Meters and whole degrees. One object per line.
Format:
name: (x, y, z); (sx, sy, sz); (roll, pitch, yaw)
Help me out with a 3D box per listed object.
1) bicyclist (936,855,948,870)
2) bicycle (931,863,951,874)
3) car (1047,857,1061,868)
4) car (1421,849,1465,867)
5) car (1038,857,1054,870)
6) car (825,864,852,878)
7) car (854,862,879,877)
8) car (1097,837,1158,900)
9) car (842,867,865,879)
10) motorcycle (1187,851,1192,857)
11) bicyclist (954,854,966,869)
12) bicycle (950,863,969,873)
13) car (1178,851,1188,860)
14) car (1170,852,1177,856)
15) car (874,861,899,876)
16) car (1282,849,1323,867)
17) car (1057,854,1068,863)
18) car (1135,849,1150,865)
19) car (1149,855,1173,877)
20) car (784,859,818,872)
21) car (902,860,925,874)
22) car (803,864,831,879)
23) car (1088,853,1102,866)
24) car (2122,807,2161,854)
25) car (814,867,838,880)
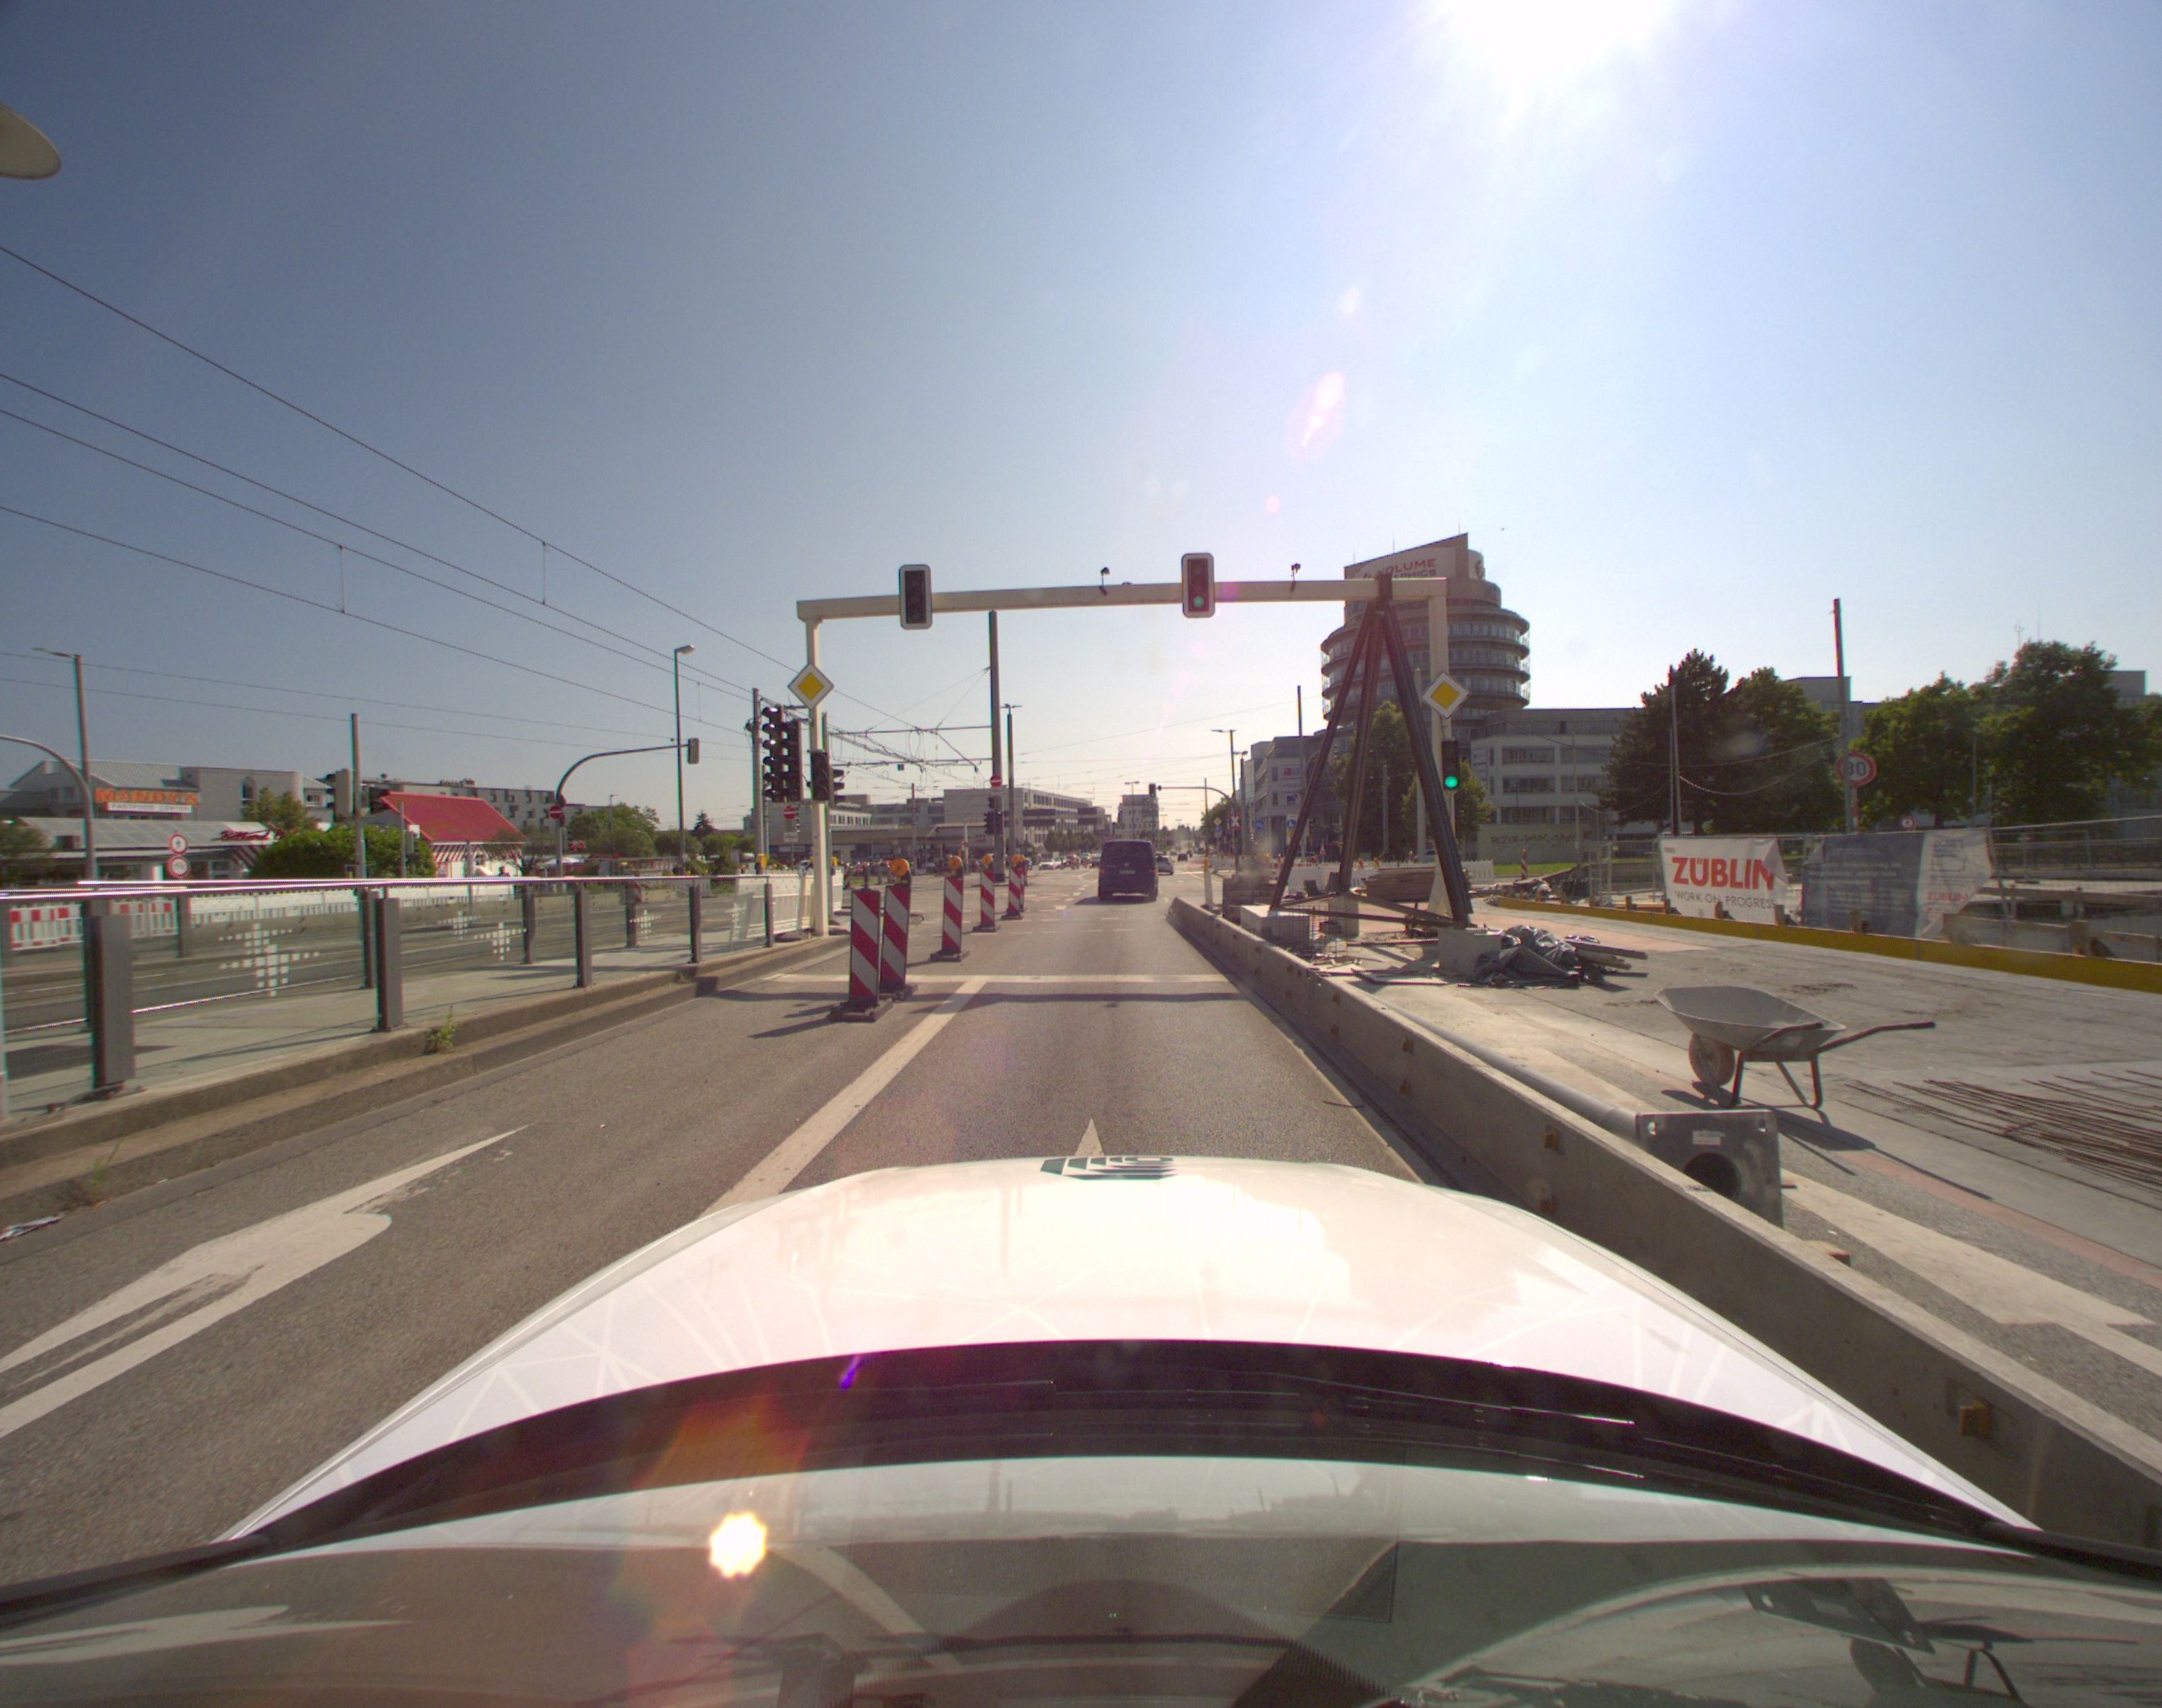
bicyclist: (-14.634, 0.901, 85.772); (0.869, 1.578, 0.973); (3, 0, 16)
bicycle: (-14.698, 1.557, 85.599); (0.874, 1.069, 2.819); (3, 0, 16)
car: (-3.680, 1.135, 110.410); (1.742, 1.486, 3.999); (-2, 0, 0)
car: (37.054, 0.447, 83.454); (3.799, 1.797, 1.682); (0, 1, 1)
car: (-4.452, 1.204, 104.298); (1.742, 1.481, 3.999); (-2, 0, 0)
car: (-28.915, 2.018, 97.278); (1.770, 1.538, 4.002); (-3, 0, 2)
car: (-25.608, 1.845, 97.276); (1.770, 1.538, 4.002); (-3, 0, 2)
car: (1.548, 0.422, 27.245); (1.880, 1.934, 4.004); (0, 1, 3)
car: (-31.042, 2.561, 111.058); (1.770, 1.538, 4.002); (-3, 0, 2)
motorcycle: (25.871, 0.001, 193.584); (1.155, 1.242, 3.015); (-1, 0, 9)
bicyclist: (-13.048, 0.841, 87.833); (0.869, 1.578, 0.973); (3, 0, 16)
bicycle: (-13.066, 1.499, 87.851); (0.874, 1.069, 2.819); (3, 0, 16)
car: (18.155, 0.227, 145.096); (1.735, 1.475, 3.892); (-1, 0, 7)
car: (27.343, -0.050, 240.975); (1.543, 1.340, 3.015); (0, 0, 0)
car: (-23.003, 1.716, 96.334); (1.770, 1.538, 4.002); (-3, 0, 2)
car: (22.626, 0.405, 83.159); (3.799, 1.797, 1.682); (0, 1, 1)
car: (-3.065, 0.770, 138.382); (1.742, 1.486, 3.999); (-2, 0, 0)
car: (6.922, 0.291, 91.963); (1.638, 1.727, 4.004); (0, 1, 3)
car: (6.236, 0.902, 63.762); (1.677, 1.606, 3.619); (0, 1, 2)
car: (-39.126, 1.567, 113.918); (4.022, 1.538, 1.762); (-3, 0, -41)
car: (-20.086, 1.564, 97.809); (1.770, 1.538, 4.002); (-1, 0, 2)
car: (-31.638, 2.058, 97.687); (1.770, 1.538, 4.002); (-3, 0, 2)
car: (1.730, 0.643, 101.696); (1.742, 1.530, 3.999); (-2, 0, 0)
car: (68.976, -1.454, 51.241); (5.967, 2.886, 2.333); (0, 1, -18)
car: (-34.444, 2.633, 110.240); (1.770, 1.538, 4.002); (-3, 0, 2)
